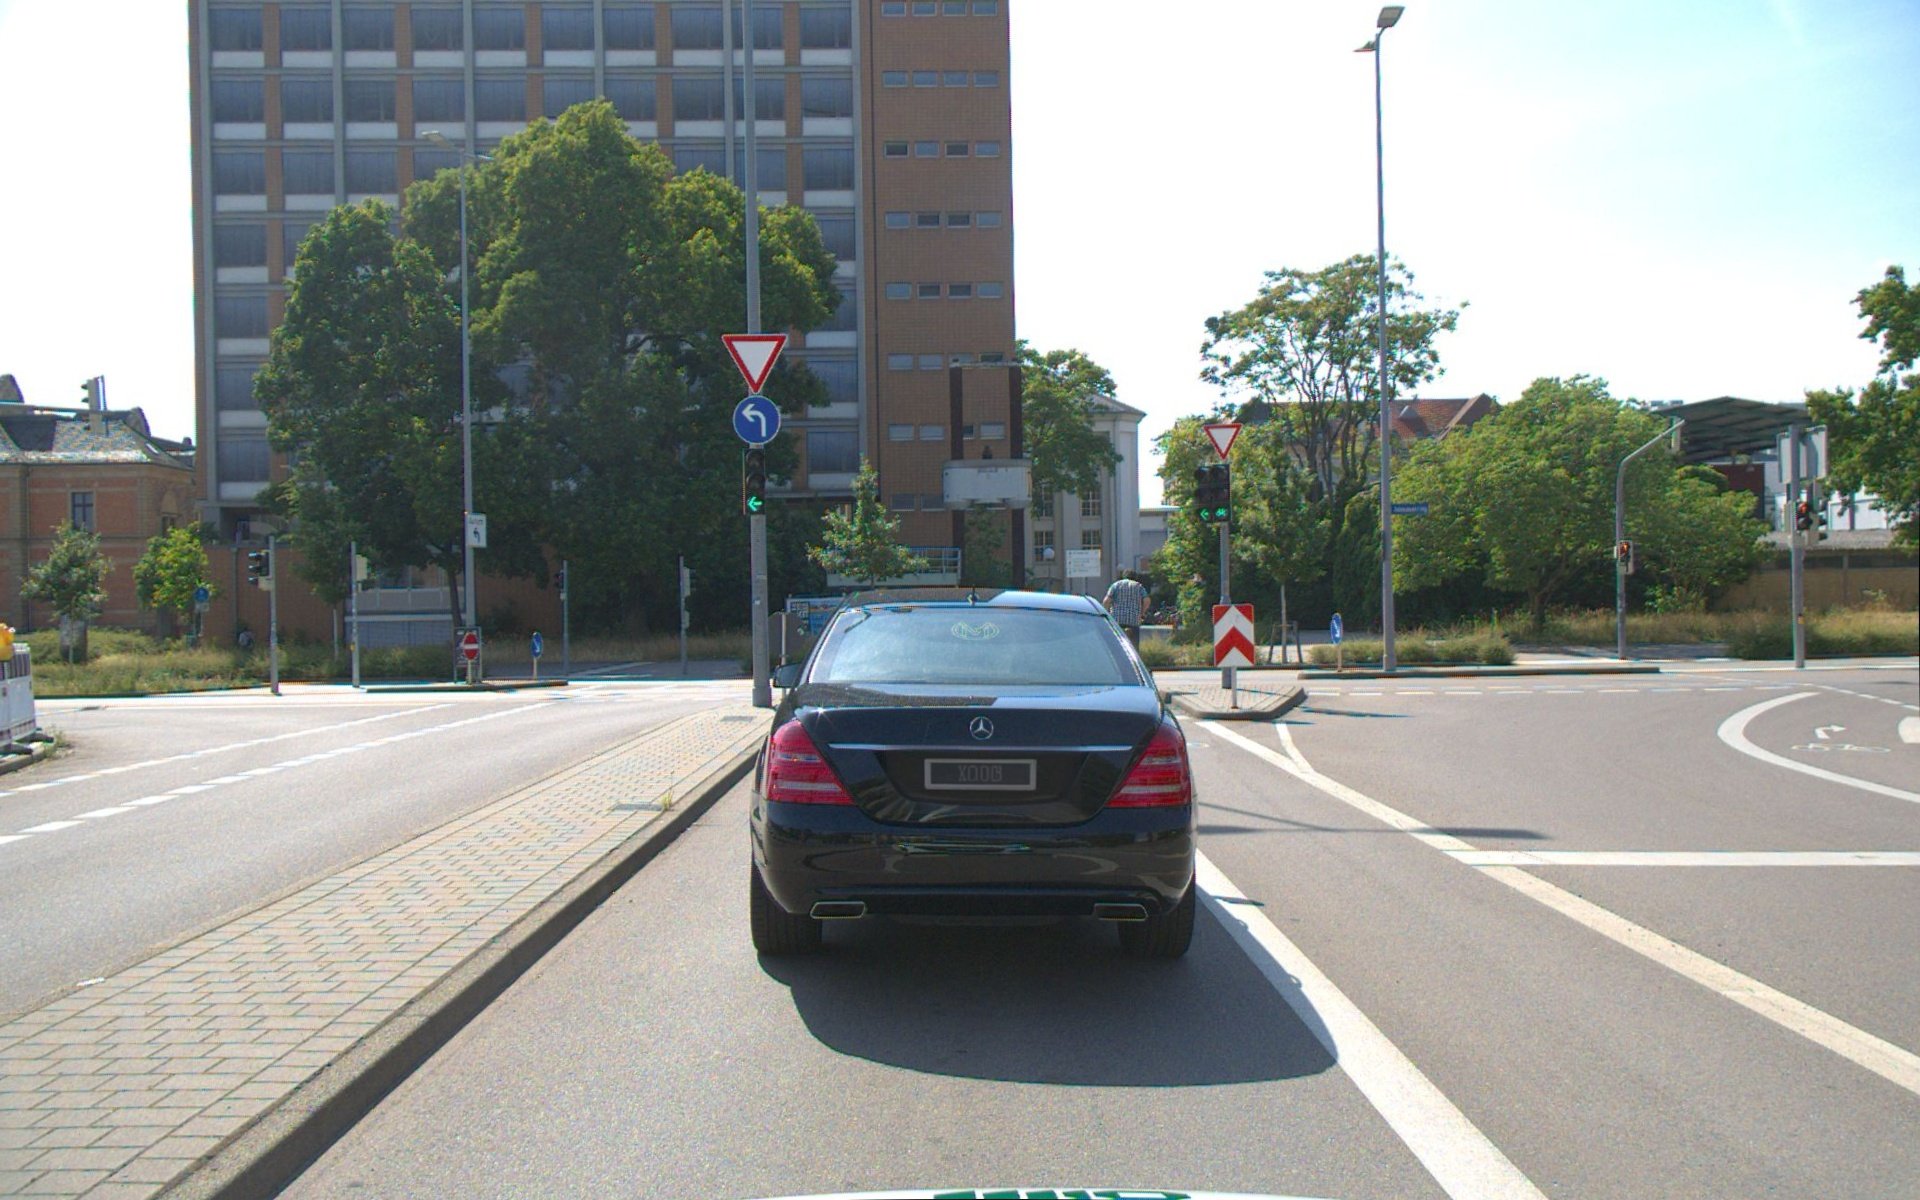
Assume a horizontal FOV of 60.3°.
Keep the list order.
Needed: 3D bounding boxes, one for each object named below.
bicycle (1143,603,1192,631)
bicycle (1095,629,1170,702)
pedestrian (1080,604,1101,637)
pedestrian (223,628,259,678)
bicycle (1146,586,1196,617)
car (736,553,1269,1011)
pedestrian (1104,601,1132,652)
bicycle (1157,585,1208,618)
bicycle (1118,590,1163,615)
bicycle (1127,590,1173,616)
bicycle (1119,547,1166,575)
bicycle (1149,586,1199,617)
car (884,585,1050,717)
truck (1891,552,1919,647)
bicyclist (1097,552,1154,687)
[{"bbox_3d":[12.296,0.980,98.250,2.766,1.564,0.841,-2,0,-2],"label":"bicycle"},{"bbox_3d":[2.426,0.909,23.430,0.679,0.963,1.956,1,0,-5],"label":"bicycle"},{"bbox_3d":[5.010,0.783,63.487,0.776,1.235,0.758,1,-1,6],"label":"pedestrian"},{"bbox_3d":[-25.873,1.910,59.499,0.781,1.756,0.873,-2,-1,22],"label":"pedestrian"},{"bbox_3d":[12.251,0.102,96.259,2.766,1.688,0.841,-2,1,-2],"label":"bicycle"},{"bbox_3d":[0.065,0.640,8.036,1.821,1.557,4.711,1,0,-2],"label":"car"},{"bbox_3d":[5.040,0.839,52.894,0.794,1.607,0.692,-1,-1,1],"label":"pedestrian"},{"bbox_3d":[12.606,0.076,93.767,2.766,1.775,0.841,-2,0,-2],"label":"bicycle"},{"bbox_3d":[11.601,0.174,106.259,2.765,1.506,0.841,-2,0,0],"label":"bicycle"},{"bbox_3d":[12.026,0.188,104.520,2.766,1.526,0.841,-2,0,-2],"label":"bicycle"},{"bbox_3d":[11.297,-2.423,102.665,2.766,1.586,0.841,-2,0,-2],"label":"bicycle"},{"bbox_3d":[12.319,0.068,95.240,2.766,1.678,0.841,-2,0,-2],"label":"bicycle"},{"bbox_3d":[0.057,0.619,21.695,1.953,1.534,3.999,1,0,-1],"label":"car"},{"bbox_3d":[27.675,-0.105,41.800,6.881,2.397,2.413,-2,-2,0],"label":"truck"},{"bbox_3d":[2.383,0.279,23.897,0.672,1.911,0.858,0,0,-6],"label":"bicyclist"}]
